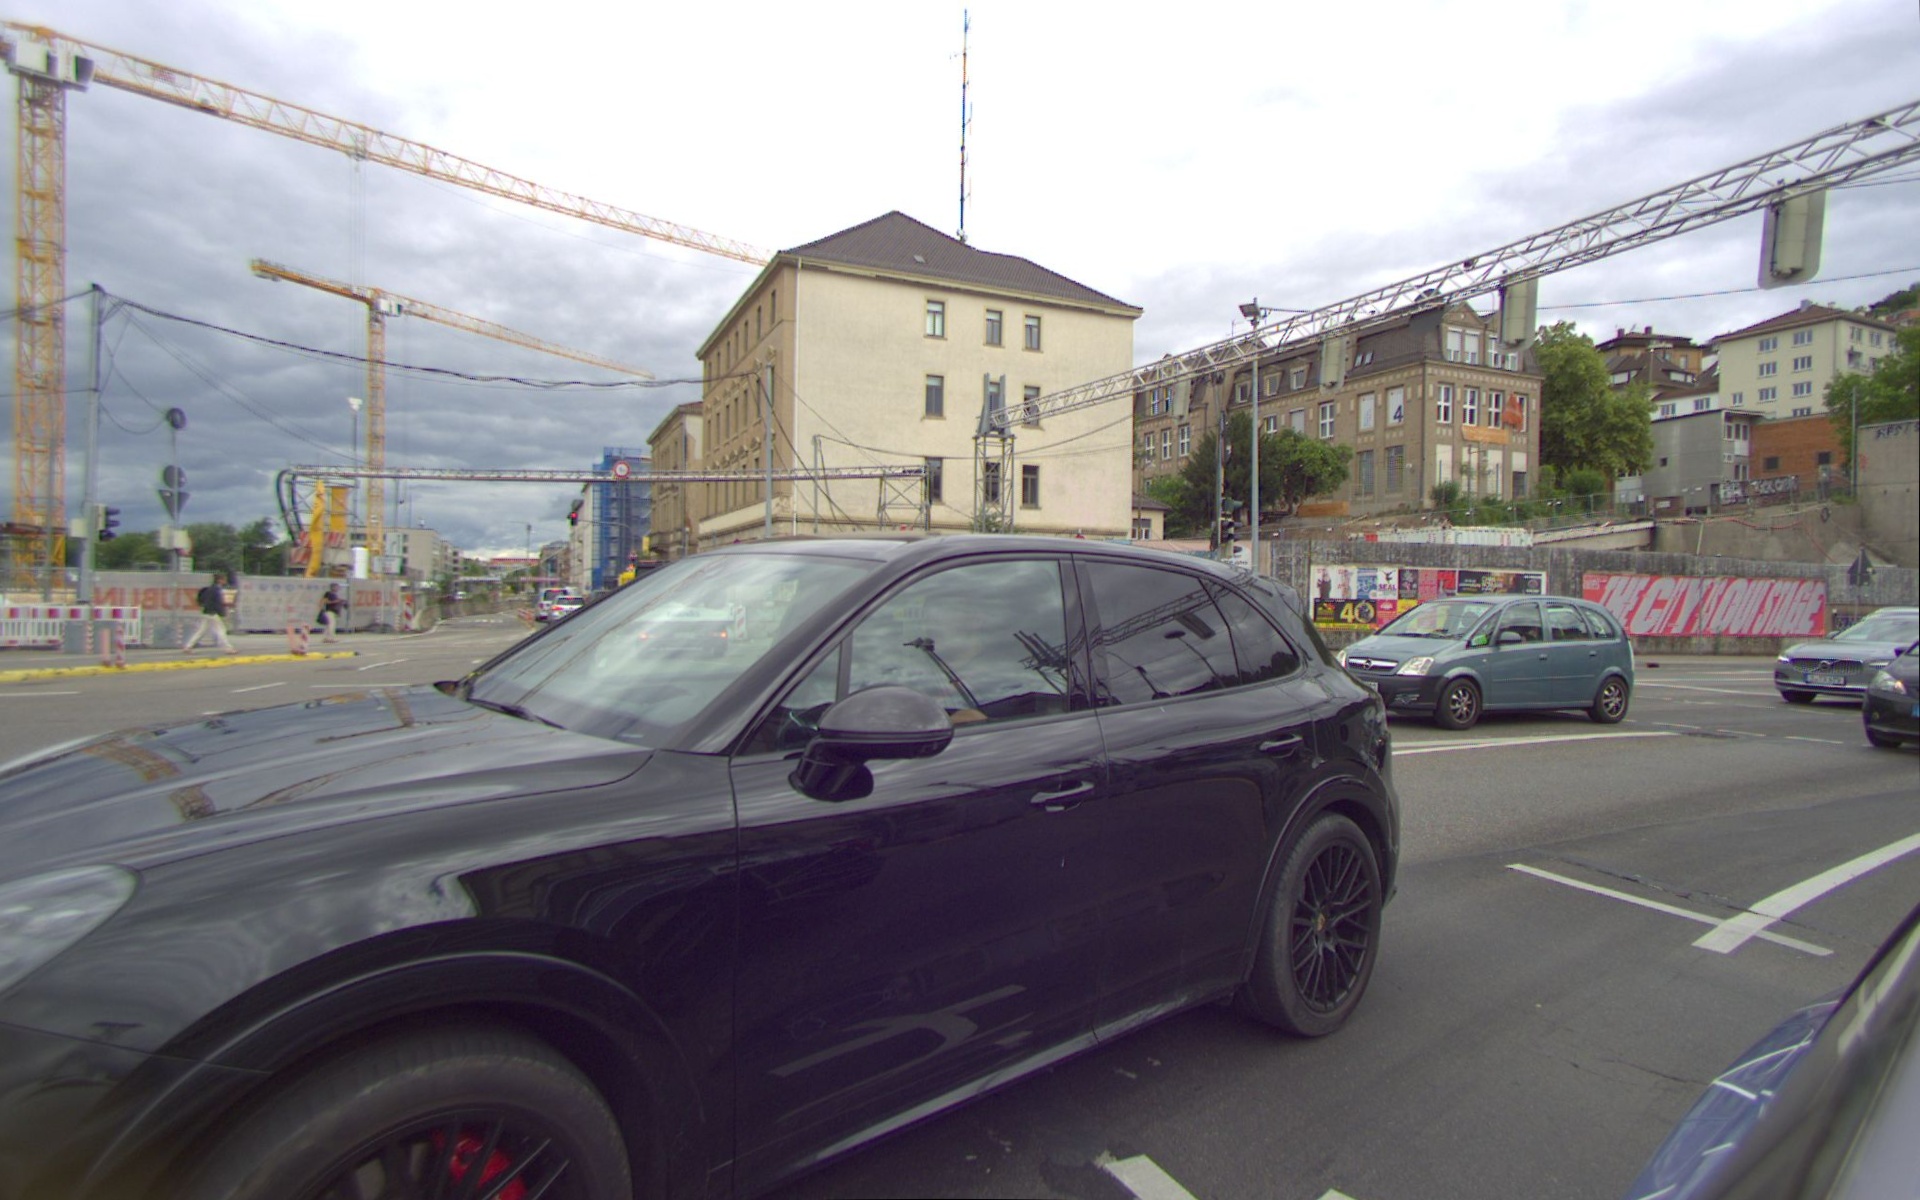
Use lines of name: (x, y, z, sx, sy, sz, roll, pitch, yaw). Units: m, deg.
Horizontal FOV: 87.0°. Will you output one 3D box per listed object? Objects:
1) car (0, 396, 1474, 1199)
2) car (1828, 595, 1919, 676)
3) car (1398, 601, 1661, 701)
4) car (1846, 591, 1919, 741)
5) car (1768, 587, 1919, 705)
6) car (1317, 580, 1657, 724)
car: (-0.399, 0.555, 3.098, 4.528, 1.668, 1.954, -1, 2, -41)
car: (20.335, 0.710, 21.064, 3.985, 1.594, 1.696, 0, -1, -20)
car: (9.355, 0.758, 16.616, 4.002, 1.434, 1.695, 0, 0, -24)
car: (11.713, 0.707, 10.628, 4.326, 1.488, 1.738, 1, 1, -20)
car: (15.021, 0.668, 15.581, 4.584, 1.598, 1.915, 1, 1, -20)
car: (6.629, 0.564, 12.746, 3.872, 1.593, 1.696, 0, 1, -23)
